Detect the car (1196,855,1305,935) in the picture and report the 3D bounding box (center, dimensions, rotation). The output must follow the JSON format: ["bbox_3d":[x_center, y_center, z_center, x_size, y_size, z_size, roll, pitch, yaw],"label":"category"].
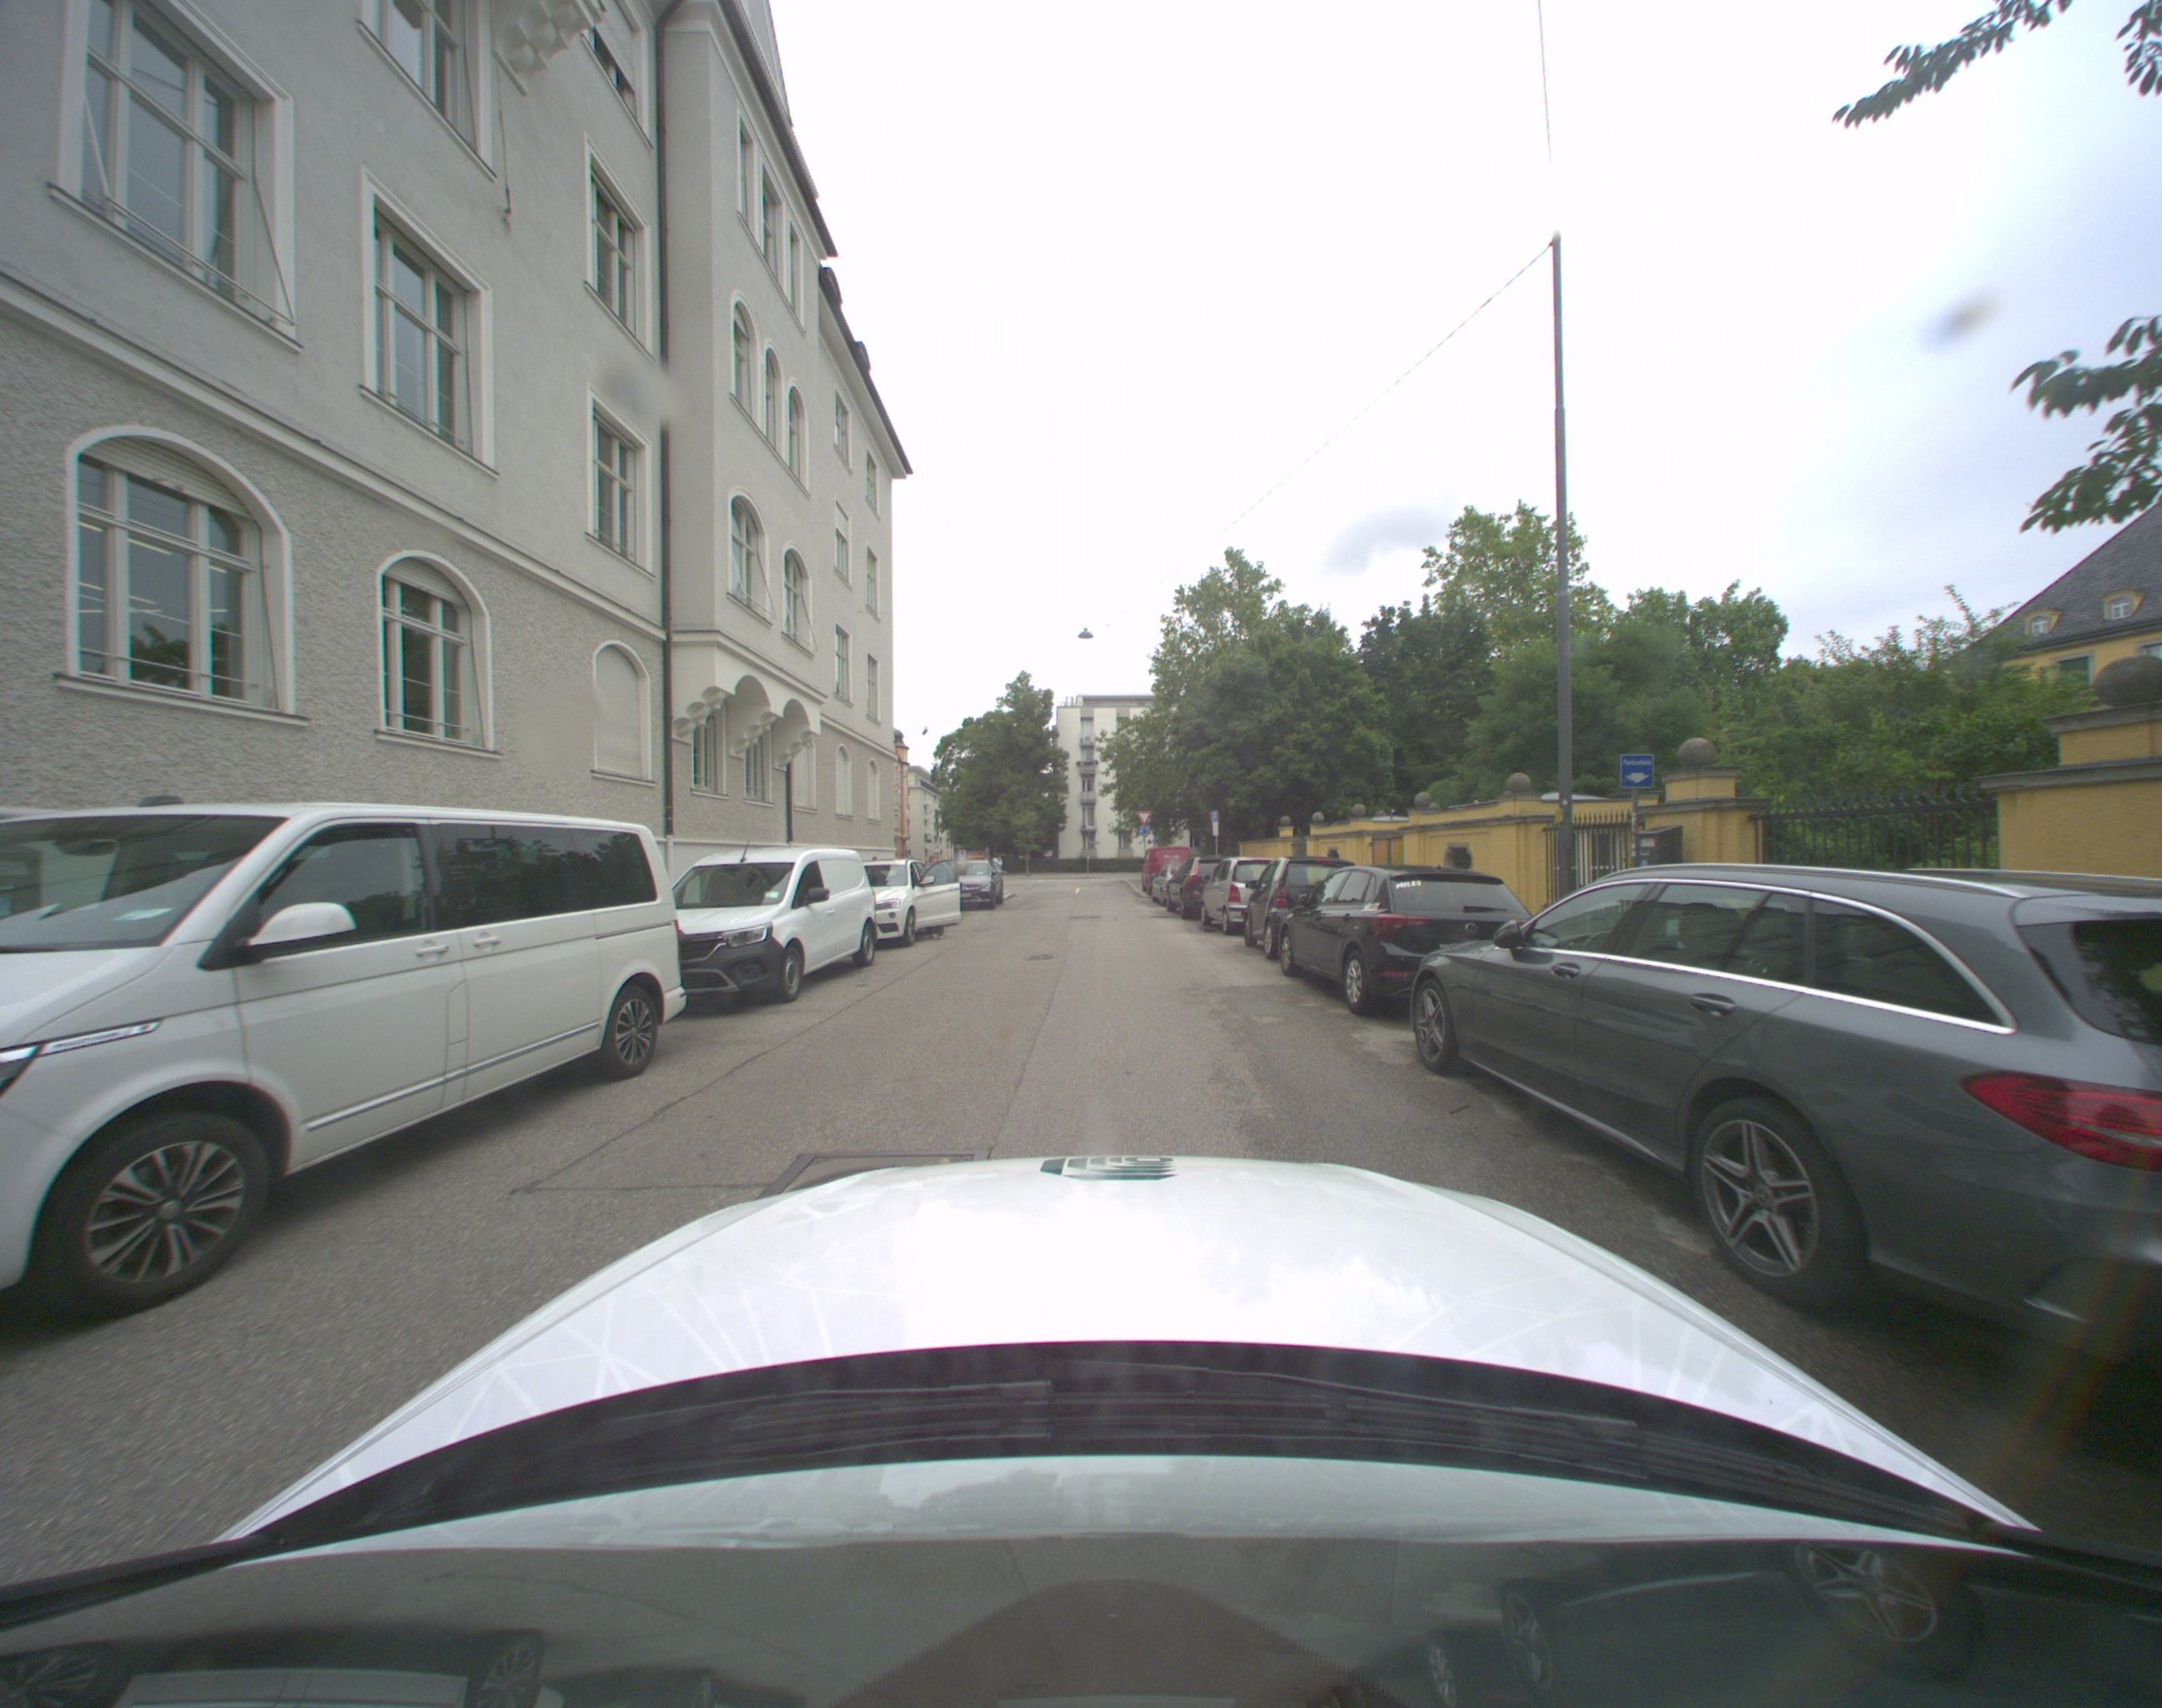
[{"bbox_3d":[3.548,0.803,17.662,1.480,1.539,3.690,1,0,-2],"label":"car"}]

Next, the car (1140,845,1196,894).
[{"bbox_3d":[3.586,0.609,34.377,1.868,1.920,4.887,1,0,0],"label":"car"}]

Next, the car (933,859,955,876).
[{"bbox_3d":[-12.827,1.211,76.258,1.817,1.505,4.410,-2,0,-8],"label":"car"}]

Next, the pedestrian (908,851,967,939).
[{"bbox_3d":[-2.963,0.813,16.812,0.967,1.756,0.868,0,-1,-29],"label":"pedestrian"}]

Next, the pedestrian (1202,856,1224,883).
[{"bbox_3d":[6.718,0.766,41.412,1.005,1.338,0.877,-1,-1,4],"label":"pedestrian"}]

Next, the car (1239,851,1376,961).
[{"bbox_3d":[3.554,0.763,13.231,1.502,1.566,2.871,1,0,2],"label":"car"}]

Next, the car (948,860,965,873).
[{"bbox_3d":[-15.699,1.554,102.804,1.833,1.505,4.106,-2,0,-6],"label":"car"}]

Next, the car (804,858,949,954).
[{"bbox_3d":[-3.935,0.920,16.475,1.741,1.602,4.495,-2,0,0],"label":"car"}]

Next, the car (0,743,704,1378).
[{"bbox_3d":[-4.220,0.669,4.505,1.849,1.938,4.957,-2,0,1],"label":"car"}]

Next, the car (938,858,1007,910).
[{"bbox_3d":[-3.676,0.971,28.332,1.741,1.602,4.495,-2,0,0],"label":"car"}]

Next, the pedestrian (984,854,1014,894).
[{"bbox_3d":[-3.674,0.886,36.527,1.056,1.771,0.868,0,-1,-32],"label":"pedestrian"}]

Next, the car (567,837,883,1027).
[{"bbox_3d":[-4.093,0.772,10.473,1.741,1.788,5.037,-2,0,1],"label":"car"}]

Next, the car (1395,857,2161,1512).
[{"bbox_3d":[3.211,0.738,4.044,1.685,1.414,4.518,-1,0,2],"label":"car"}]

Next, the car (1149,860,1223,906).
[{"bbox_3d":[3.608,0.967,28.641,1.879,1.448,4.365,1,0,-2],"label":"car"}]

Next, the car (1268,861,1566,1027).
[{"bbox_3d":[3.418,0.808,9.167,1.686,1.414,4.035,1,0,0],"label":"car"}]

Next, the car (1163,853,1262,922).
[{"bbox_3d":[3.489,0.838,22.544,1.879,1.653,4.821,1,0,-1],"label":"car"}]

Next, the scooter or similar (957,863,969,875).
[{"bbox_3d":[-10.678,1.360,73.640,1.005,1.088,0.387,0,-1,-31],"label":"scooter or similar"}]

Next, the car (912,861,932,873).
[{"bbox_3d":[-22.464,1.814,115.043,1.970,1.581,4.406,0,0,-1],"label":"car"}]

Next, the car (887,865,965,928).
[{"bbox_3d":[-3.981,1.042,21.358,1.690,1.414,3.654,-2,0,-7],"label":"car"}]
